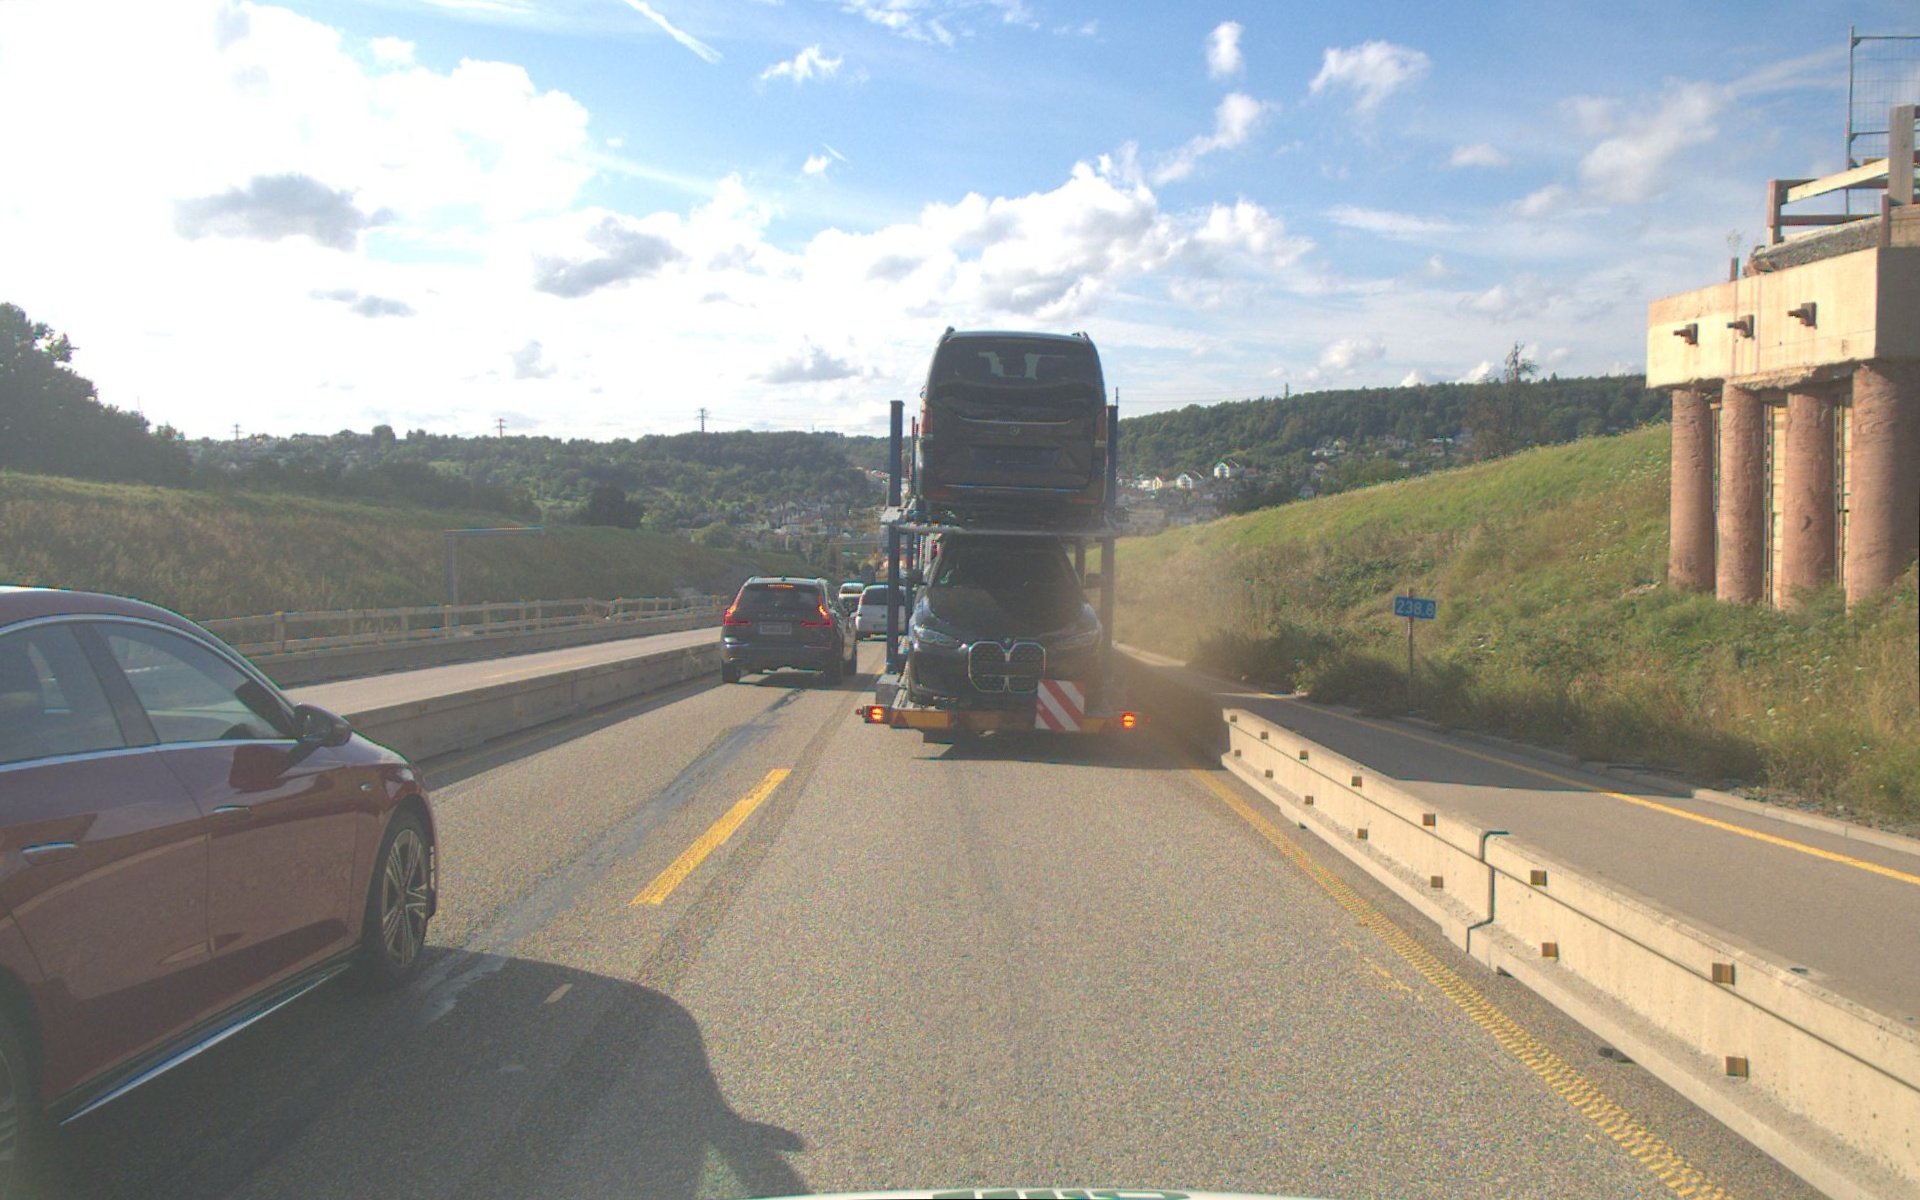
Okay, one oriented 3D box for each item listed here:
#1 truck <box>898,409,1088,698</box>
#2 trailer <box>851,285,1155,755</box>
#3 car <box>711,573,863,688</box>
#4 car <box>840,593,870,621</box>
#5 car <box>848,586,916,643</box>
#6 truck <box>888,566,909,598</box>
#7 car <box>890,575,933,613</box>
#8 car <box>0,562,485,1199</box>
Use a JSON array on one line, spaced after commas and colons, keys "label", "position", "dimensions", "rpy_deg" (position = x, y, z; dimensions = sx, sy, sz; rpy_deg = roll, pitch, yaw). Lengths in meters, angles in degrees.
[{"label": "truck", "position": [0.478, -0.666, 25.836], "dimensions": [2.623, 3.990, 6.027], "rpy_deg": [0, 0, 0]}, {"label": "trailer", "position": [0.526, -0.743, 20.160], "dimensions": [2.652, 4.099, 11.422], "rpy_deg": [0, 0, 1]}, {"label": "car", "position": [-2.732, 0.425, 27.118], "dimensions": [1.953, 1.653, 4.750], "rpy_deg": [2, 1, 0]}, {"label": "car", "position": [-6.904, 0.432, 108.717], "dimensions": [1.699, 1.688, 4.217], "rpy_deg": [-3, 1, -1]}, {"label": "car", "position": [-2.286, 0.392, 49.457], "dimensions": [1.759, 1.624, 4.743], "rpy_deg": [0, 1, 1]}, {"label": "truck", "position": [-8.087, -2.361, 217.701], "dimensions": [2.561, 4.226, 5.781], "rpy_deg": [0, 0, 0]}, {"label": "car", "position": [-2.090, -0.276, 71.239], "dimensions": [1.760, 1.557, 4.294], "rpy_deg": [0, 1, -2]}, {"label": "car", "position": [-2.840, 0.653, 4.427], "dimensions": [1.786, 1.518, 4.684], "rpy_deg": [1, 1, 0]}]
